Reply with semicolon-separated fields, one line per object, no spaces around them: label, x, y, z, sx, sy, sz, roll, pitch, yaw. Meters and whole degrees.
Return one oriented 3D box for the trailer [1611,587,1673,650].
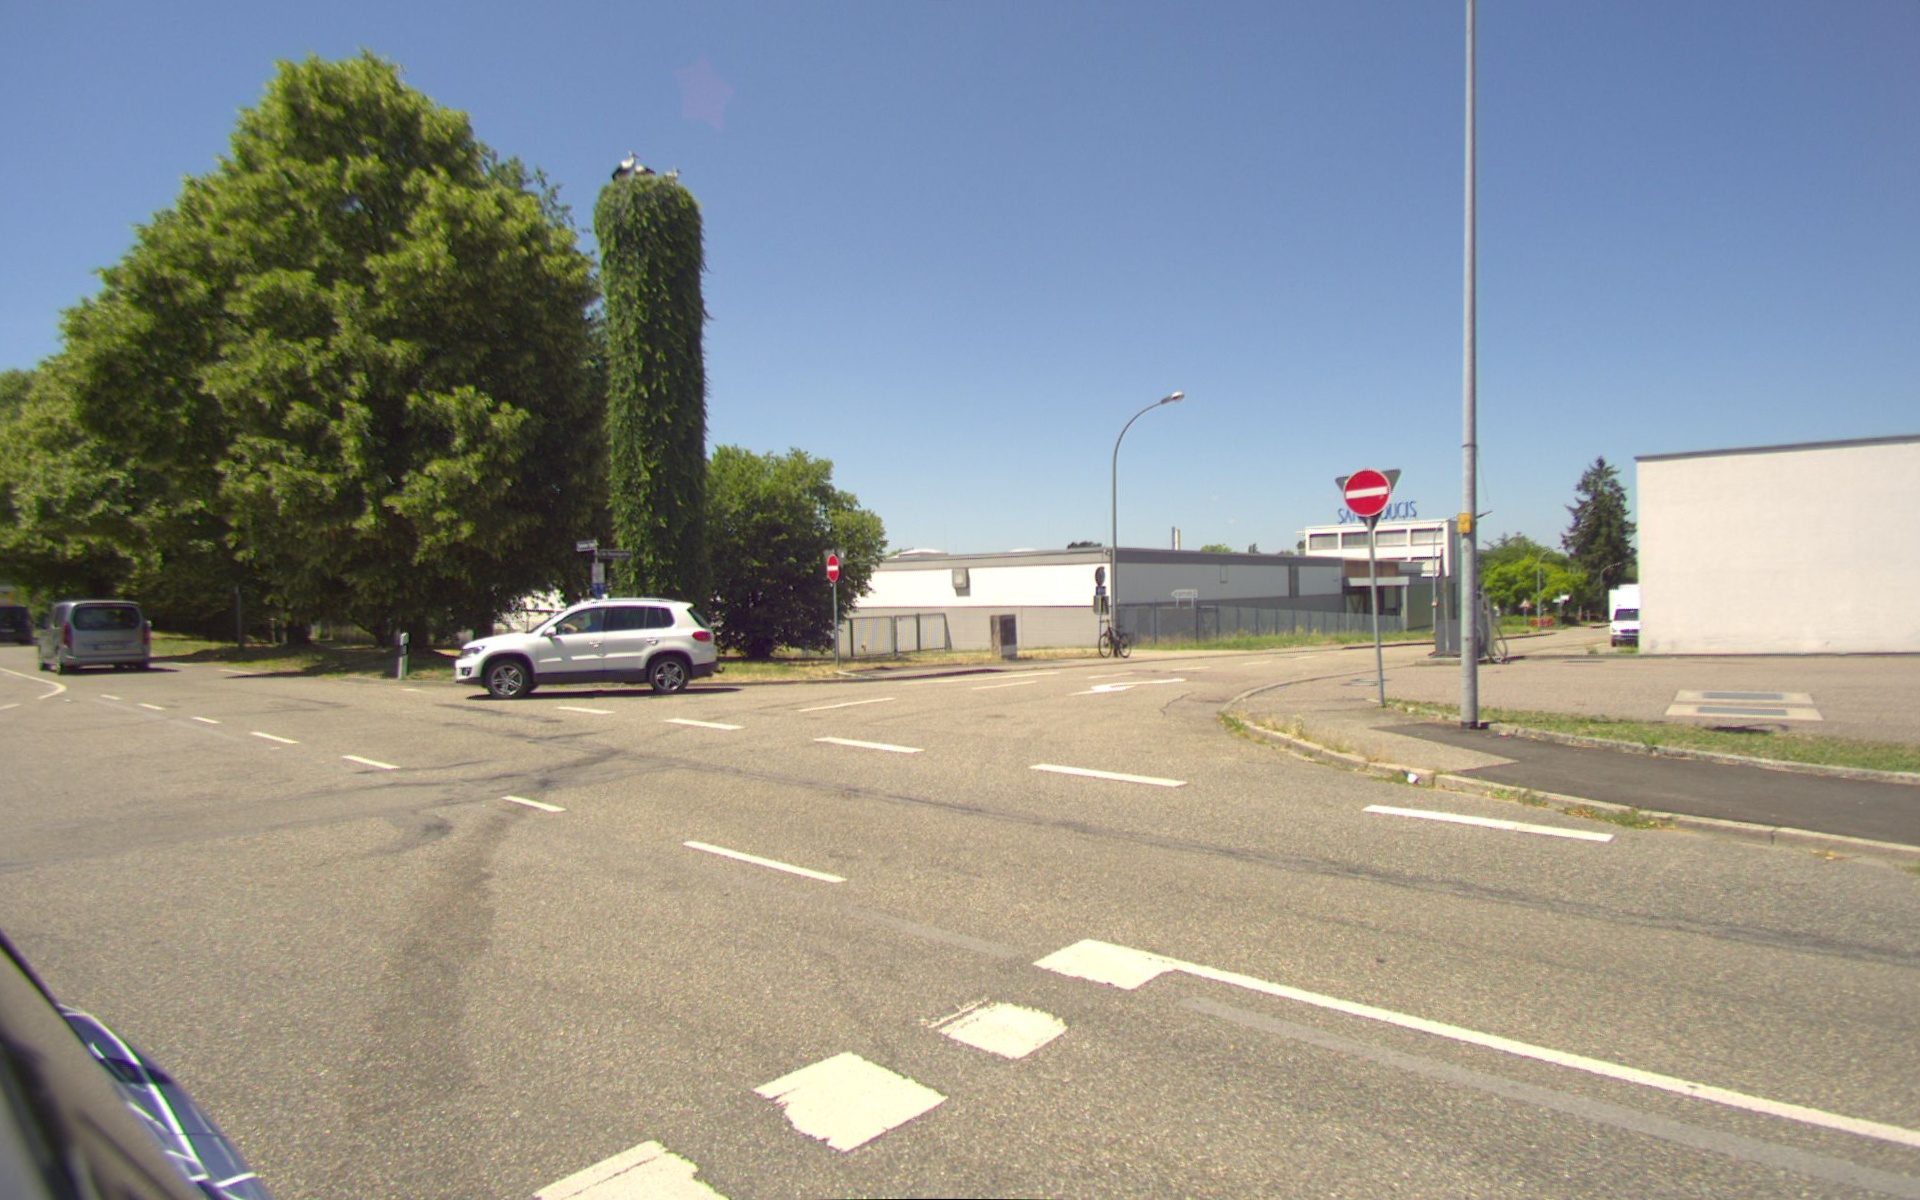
trailer;39.375;0.991;58.312;2.305;3.435;7.226;-1;0;39

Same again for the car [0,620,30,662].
car;-43.231;1.824;45.459;4.783;1.795;1.803;-2;-2;44

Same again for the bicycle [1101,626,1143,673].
bicycle;4.868;1.464;30.307;1.518;1.359;0.395;1;-2;-43

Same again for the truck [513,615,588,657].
truck;-30.571;2.642;75.275;2.404;2.950;8.172;-1;0;-43

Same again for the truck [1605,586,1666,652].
truck;37.070;1.013;55.496;2.305;3.448;4.660;-1;0;39

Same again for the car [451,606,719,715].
car;-6.447;0.994;17.793;4.176;1.685;1.981;-1;-1;-16

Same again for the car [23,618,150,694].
car;-22.381;1.382;25.880;4.361;1.786;1.777;-1;-3;40

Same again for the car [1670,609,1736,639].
car;48.088;1.556;65.527;1.550;1.863;3.219;0;-1;-45

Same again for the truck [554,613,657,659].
truck;-23.985;2.378;68.006;2.653;2.818;10.169;-1;-1;-43
